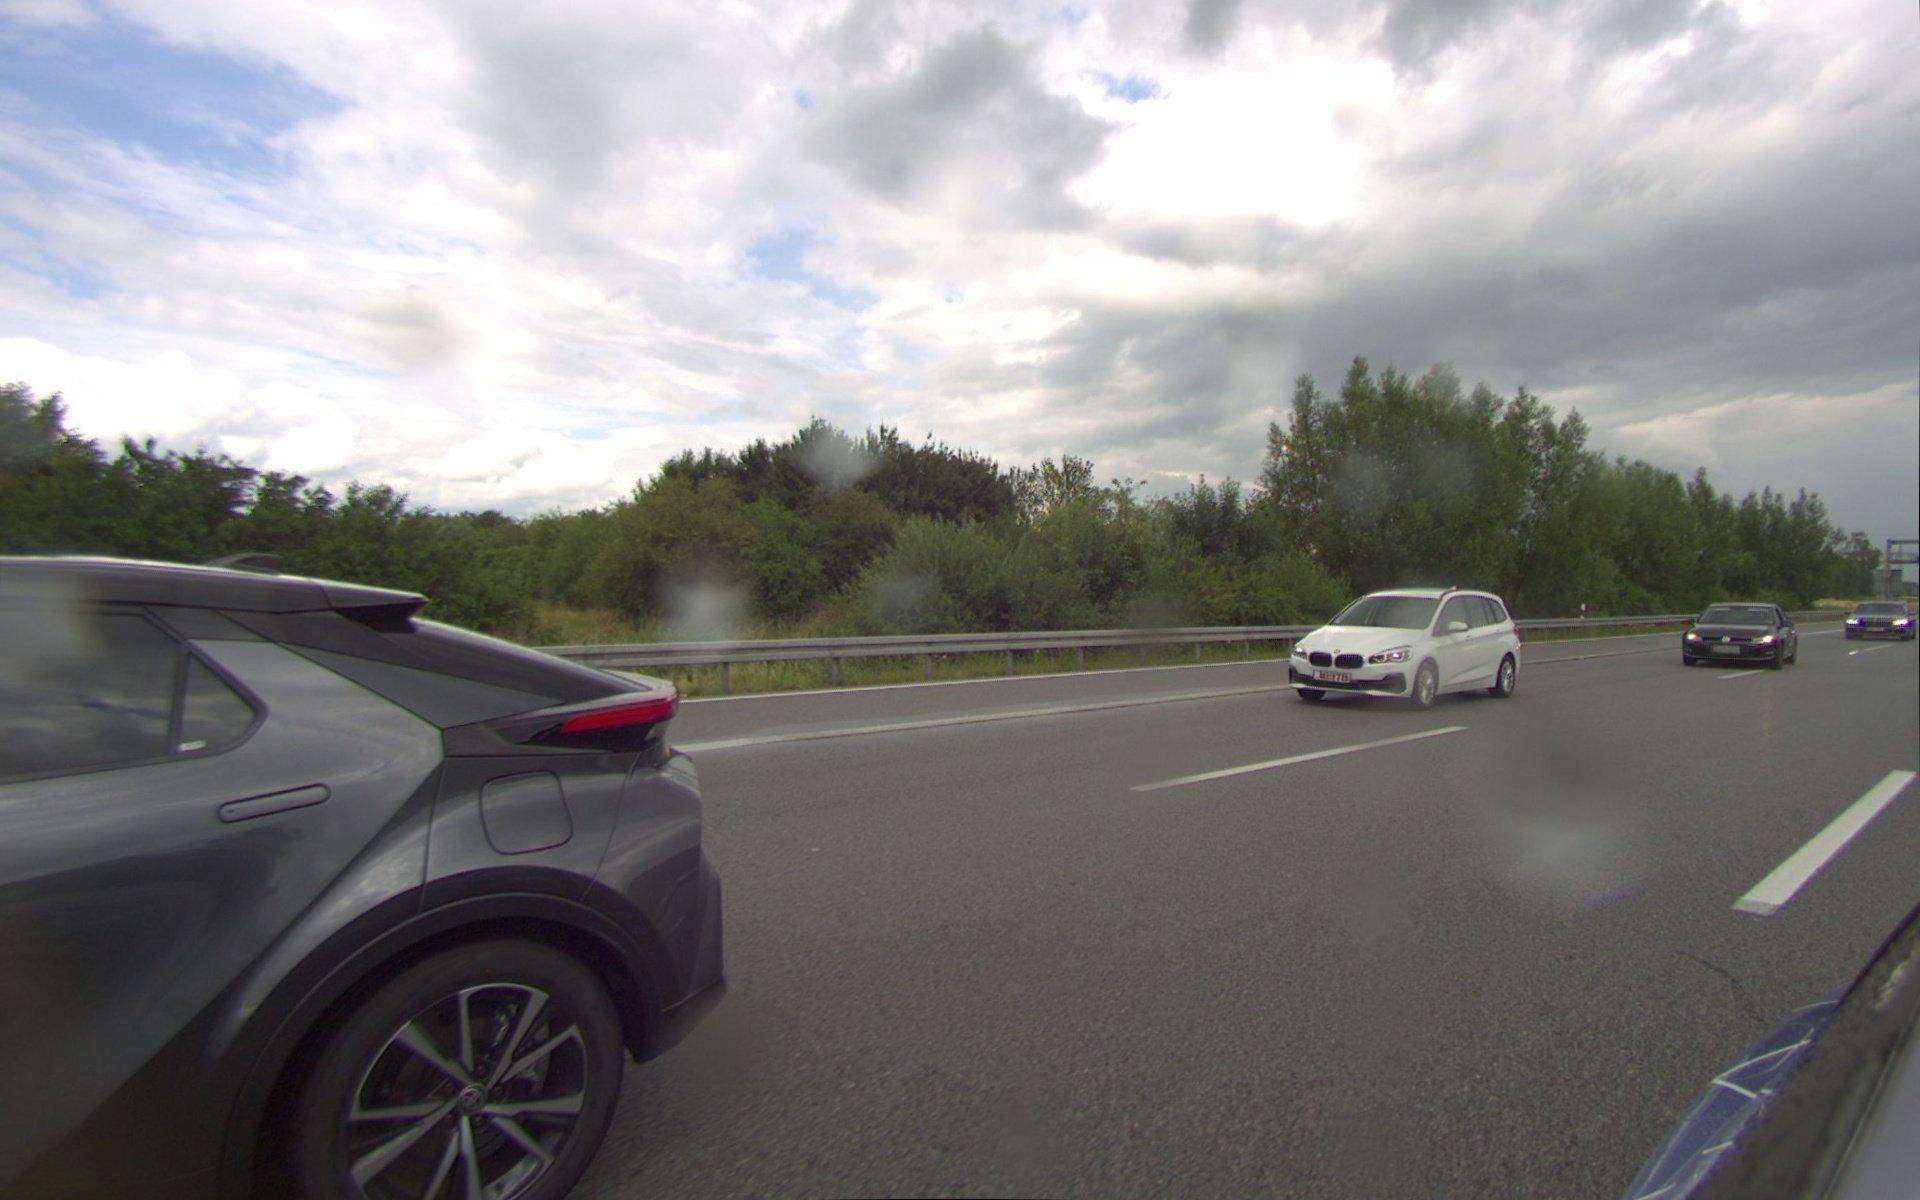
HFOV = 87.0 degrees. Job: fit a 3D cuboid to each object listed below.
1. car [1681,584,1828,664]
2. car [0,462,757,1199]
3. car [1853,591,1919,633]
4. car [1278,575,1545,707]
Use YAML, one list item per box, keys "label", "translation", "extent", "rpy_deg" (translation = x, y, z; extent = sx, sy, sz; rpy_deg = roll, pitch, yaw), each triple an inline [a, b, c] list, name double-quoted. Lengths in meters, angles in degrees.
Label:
- label: "car"
  translation: [18.109, 0.474, 23.014]
  extent: [4.376, 1.651, 1.711]
  rpy_deg: [0, 1, -39]
- label: "car"
  translation: [-2.792, 0.582, 1.768]
  extent: [4.518, 1.633, 1.784]
  rpy_deg: [0, 1, -42]
- label: "car"
  translation: [36.538, 0.430, 39.569]
  extent: [4.694, 1.510, 1.942]
  rpy_deg: [0, 1, -43]
- label: "car"
  translation: [6.656, 0.482, 14.670]
  extent: [4.614, 1.619, 1.813]
  rpy_deg: [0, 1, -42]
